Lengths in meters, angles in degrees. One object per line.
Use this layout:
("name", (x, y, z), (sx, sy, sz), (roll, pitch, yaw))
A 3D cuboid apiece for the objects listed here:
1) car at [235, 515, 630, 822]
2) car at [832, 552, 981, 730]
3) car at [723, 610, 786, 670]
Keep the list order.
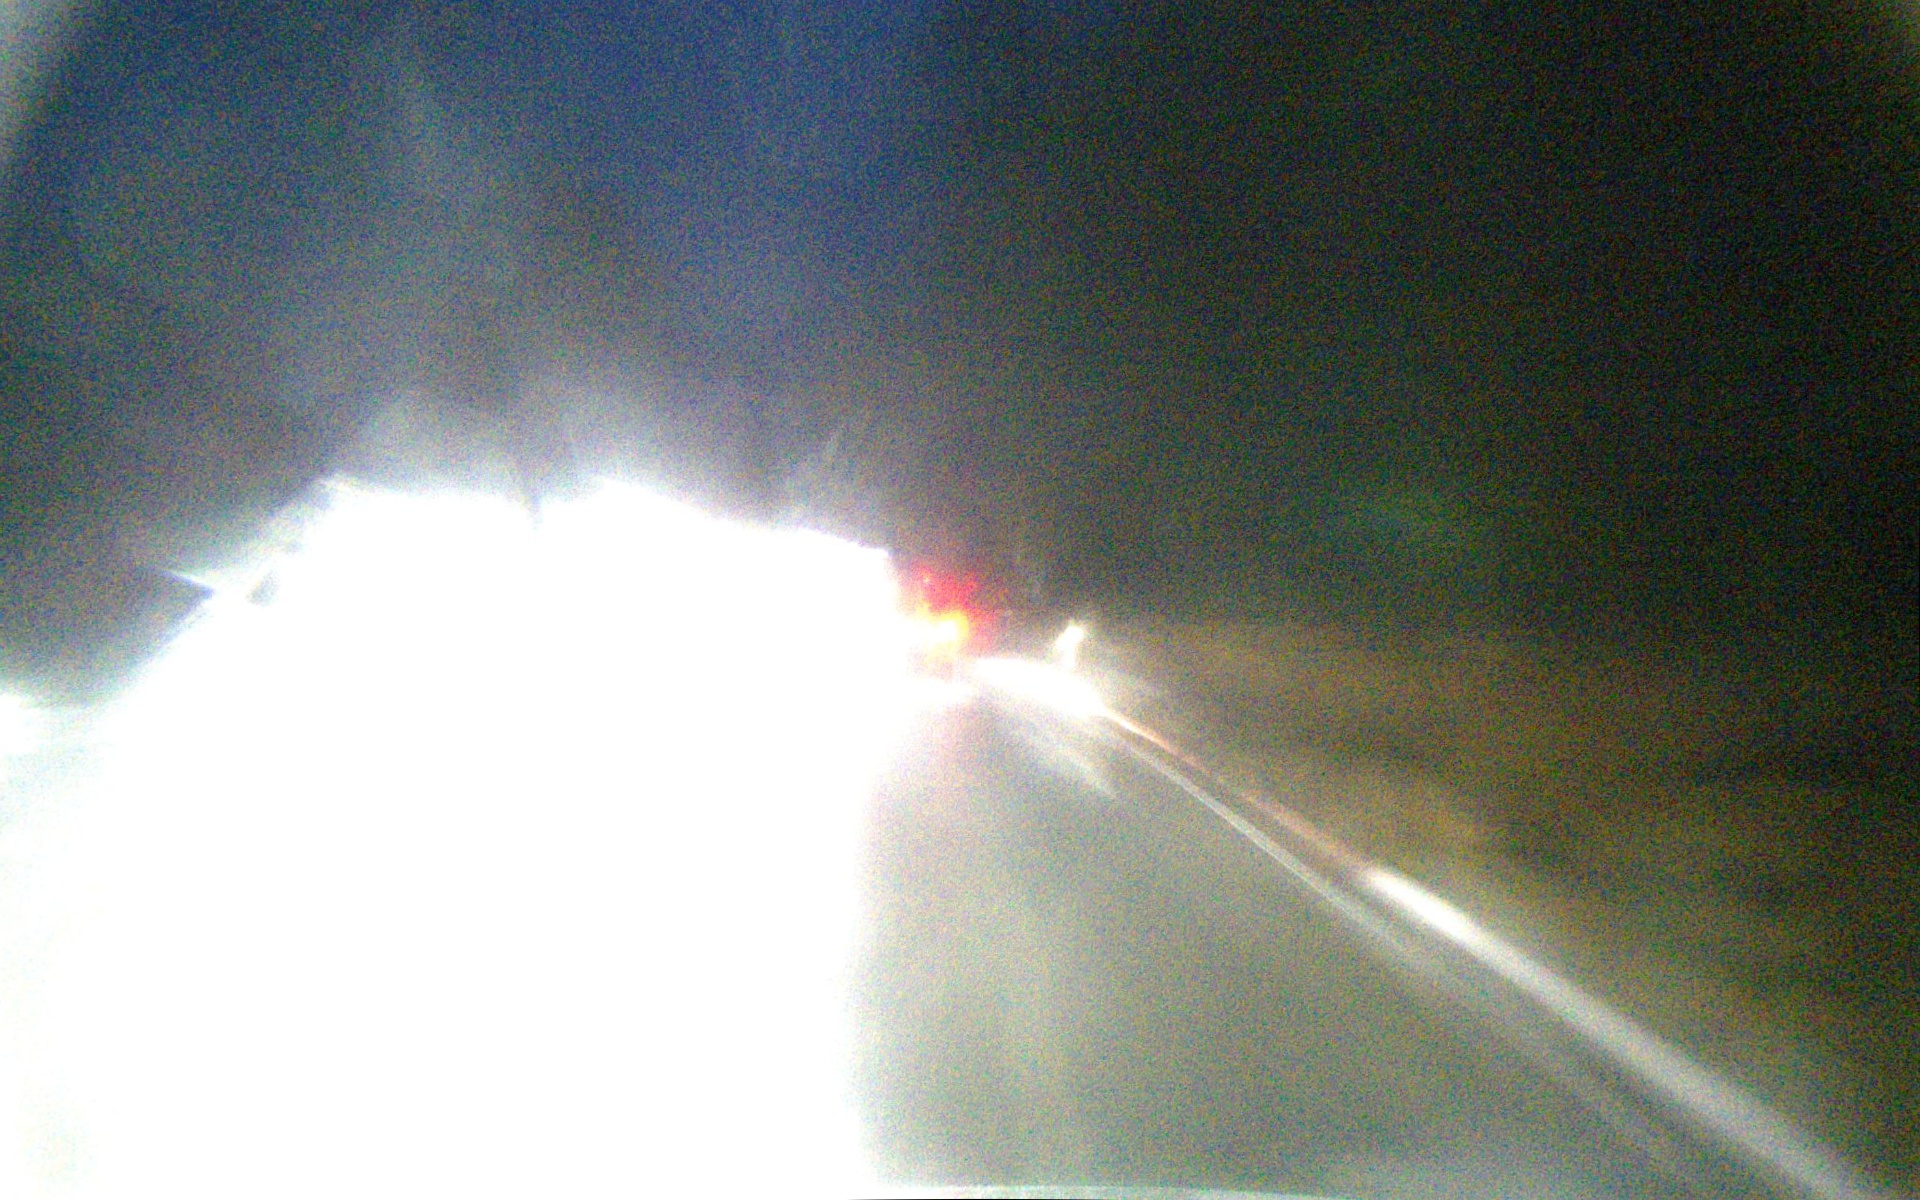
("car", (-4.058, 0.476, 13.549), (1.953, 2.104, 4.344), (0, 0, -2))
("car", (-0.924, 0.634, 27.293), (2.138, 2.602, 4.505), (3, 0, -3))
("car", (-5.820, 1.111, 47.087), (1.564, 1.536, 3.597), (-2, 1, -5))
